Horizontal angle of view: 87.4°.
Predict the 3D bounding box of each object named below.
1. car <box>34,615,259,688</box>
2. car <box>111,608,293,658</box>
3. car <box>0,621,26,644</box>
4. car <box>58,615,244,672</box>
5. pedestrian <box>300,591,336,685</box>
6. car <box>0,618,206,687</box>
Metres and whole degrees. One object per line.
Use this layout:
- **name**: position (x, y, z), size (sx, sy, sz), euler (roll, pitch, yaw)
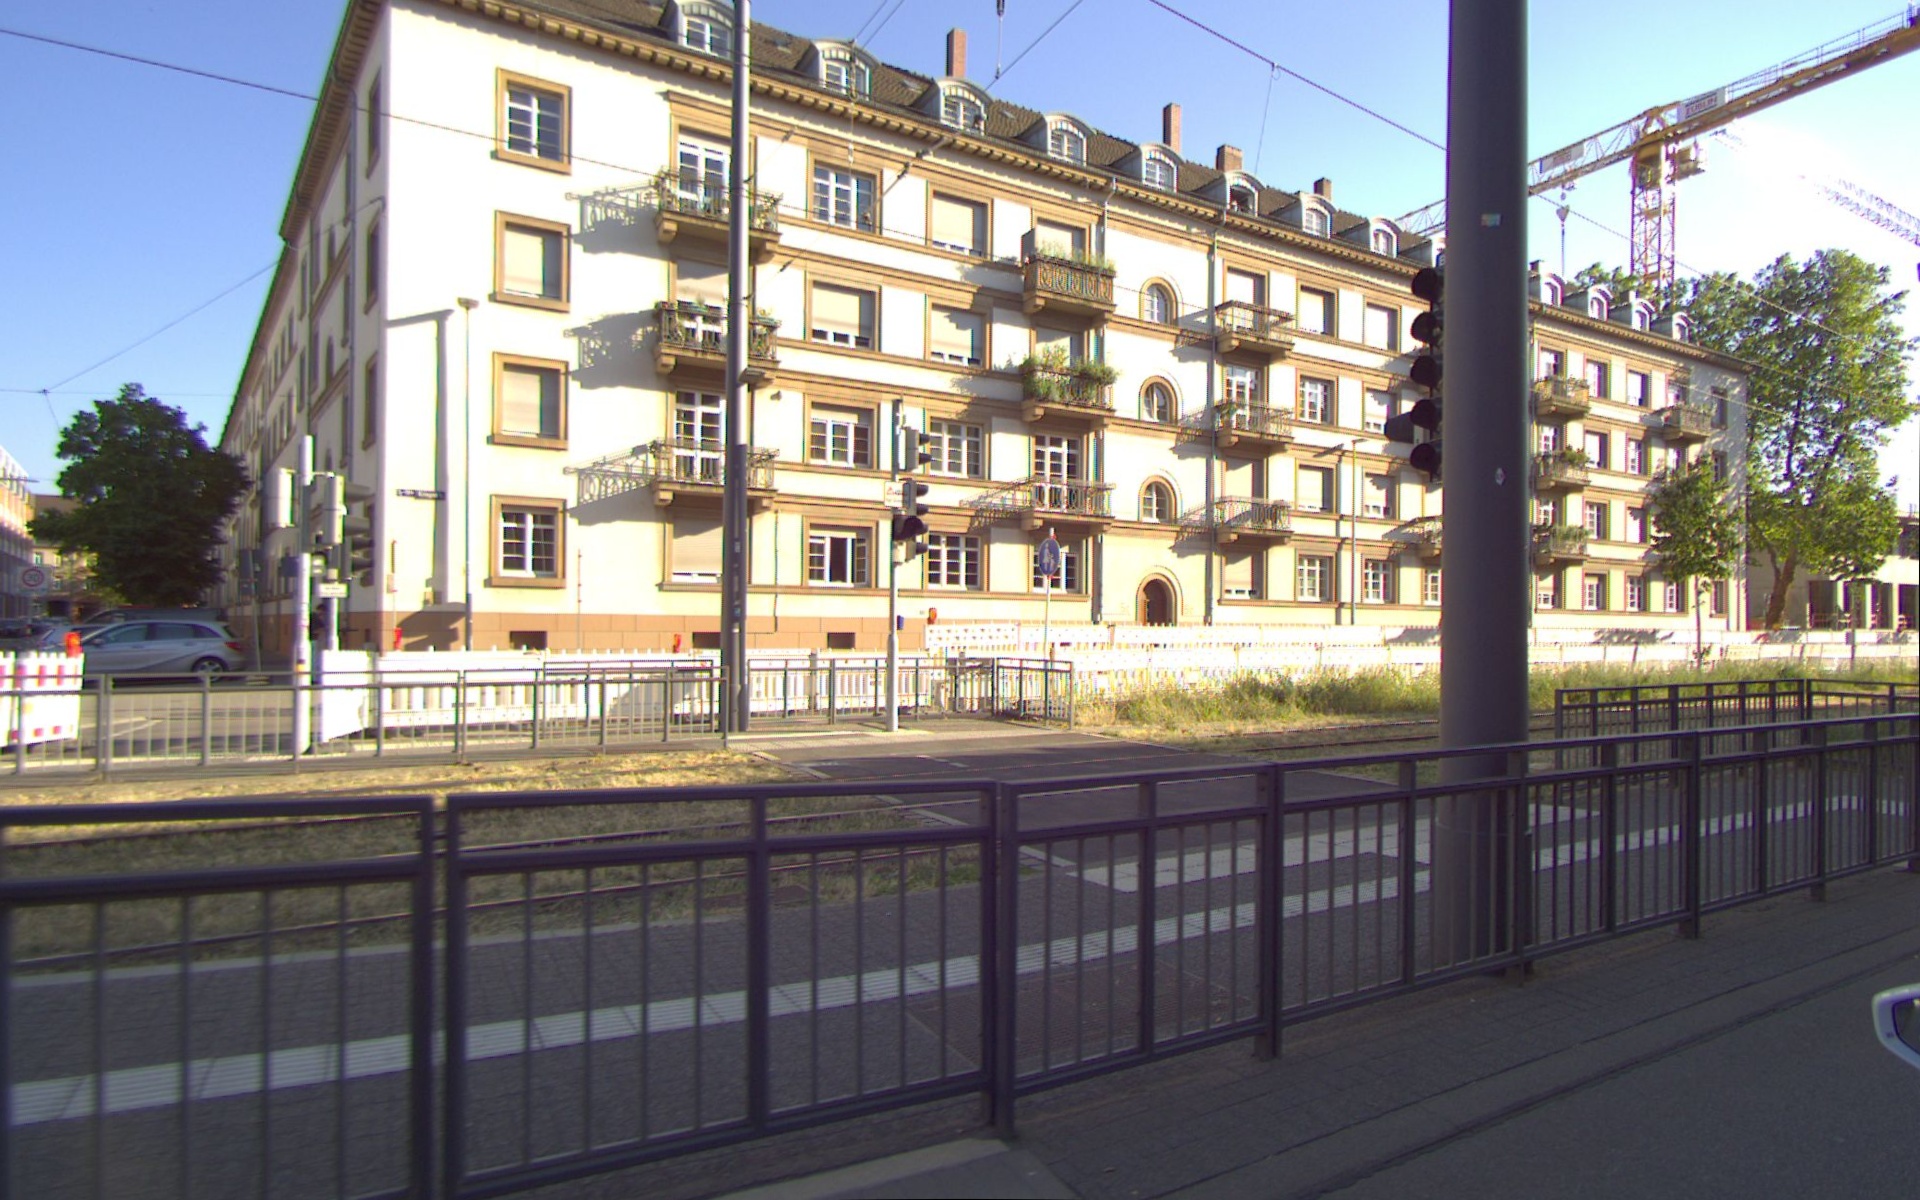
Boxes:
- **car**: position (-19.426, 1.174, 24.259), size (4.090, 1.606, 1.825), euler (1, -1, -36)
- **car**: position (-24.789, 1.049, 33.086), size (4.666, 1.521, 1.825), euler (1, -1, -36)
- **car**: position (-64.699, 2.142, 66.509), size (3.961, 1.521, 1.825), euler (1, -1, -36)
- **car**: position (-22.671, 1.177, 28.365), size (3.961, 1.521, 1.825), euler (1, -1, -36)
- **pedestrian**: position (-14.310, 0.840, 22.410), size (0.618, 2.040, 0.797), euler (0, -1, -30)
- **car**: position (-21.696, 1.274, 25.550), size (3.961, 1.606, 1.825), euler (1, -1, -36)
